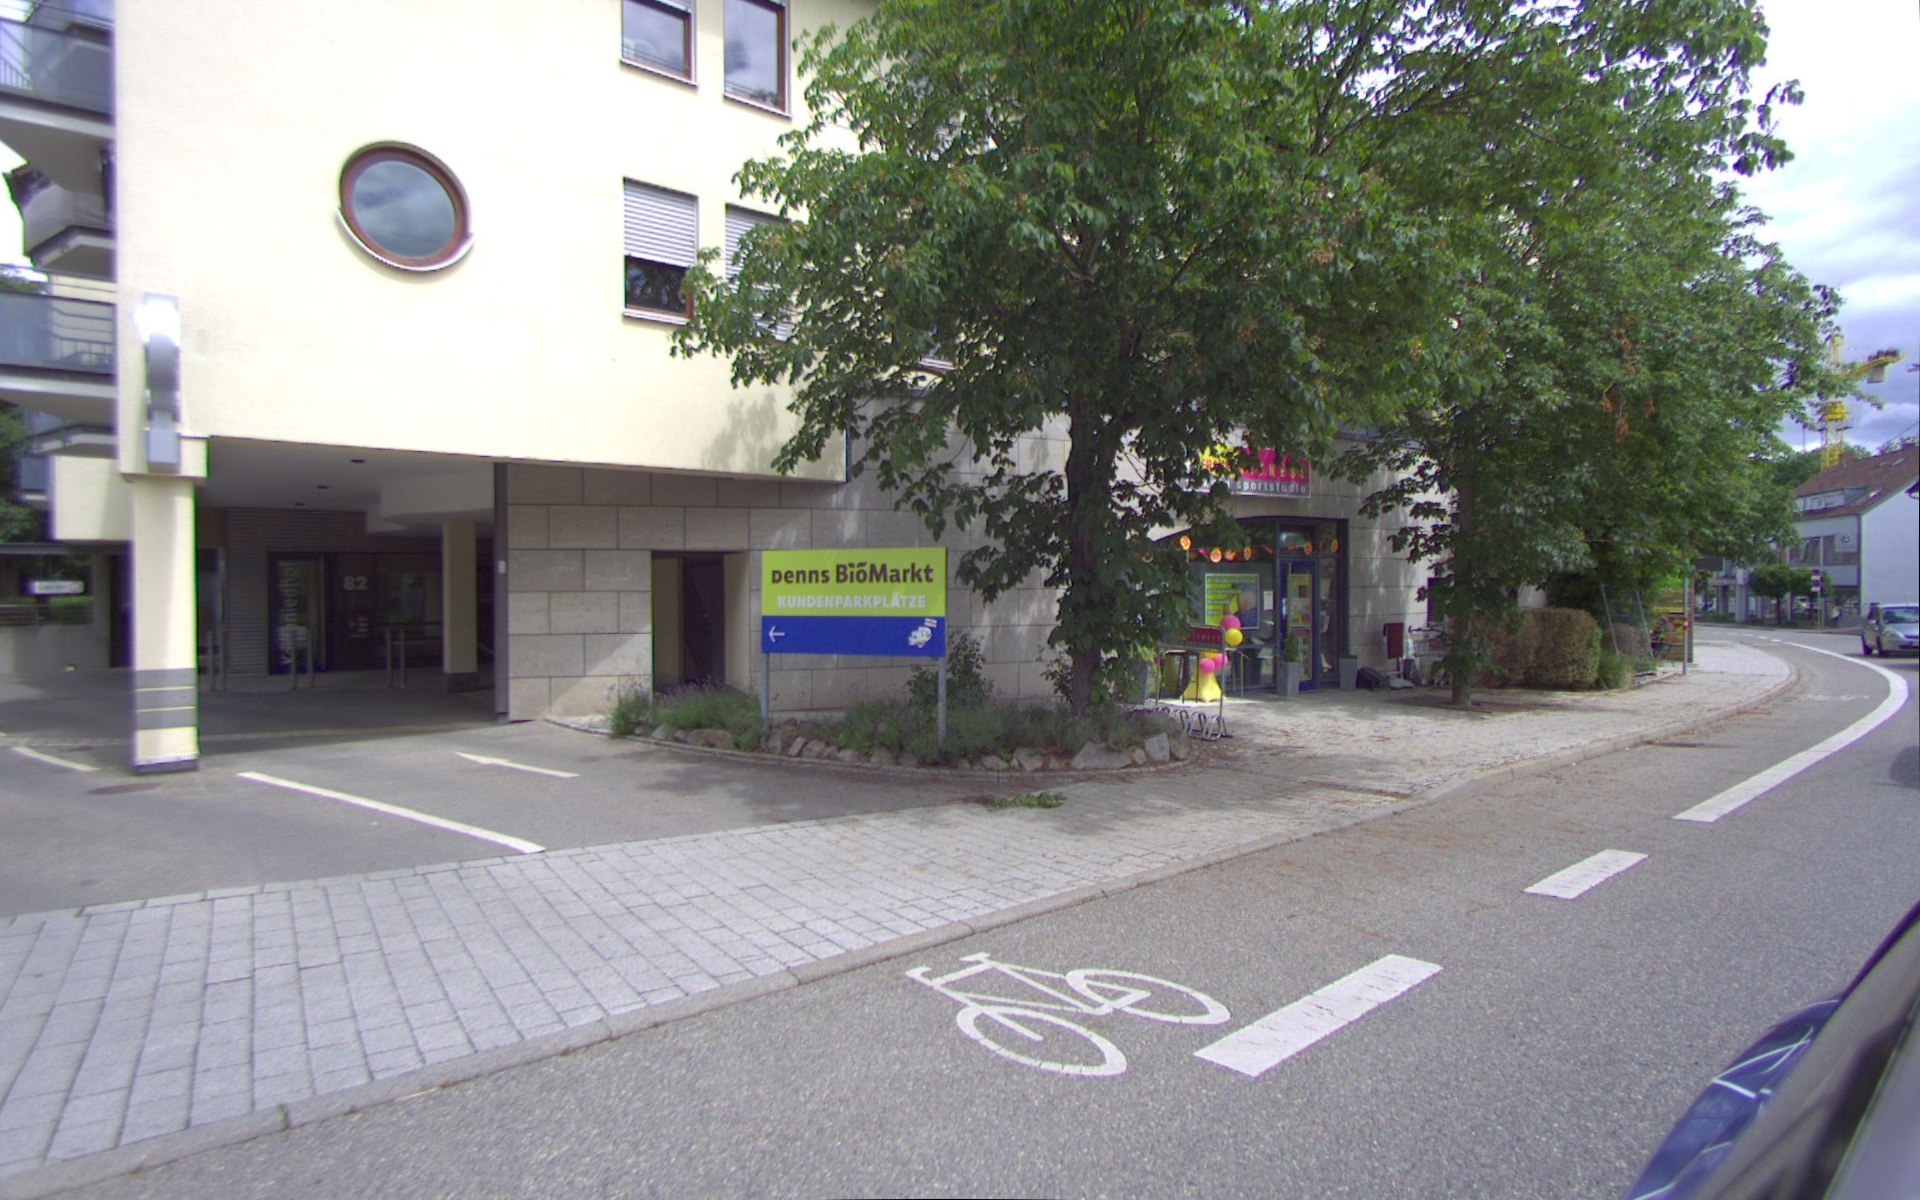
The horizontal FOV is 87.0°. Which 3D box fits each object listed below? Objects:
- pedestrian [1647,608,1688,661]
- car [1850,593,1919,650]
[{"bbox_3d":[18.200,0.864,26.034,0.741,1.317,0.730,0,0,-44],"label":"pedestrian"},{"bbox_3d":[27.518,0.583,29.258,1.678,1.505,3.962,-2,-1,27],"label":"car"}]
